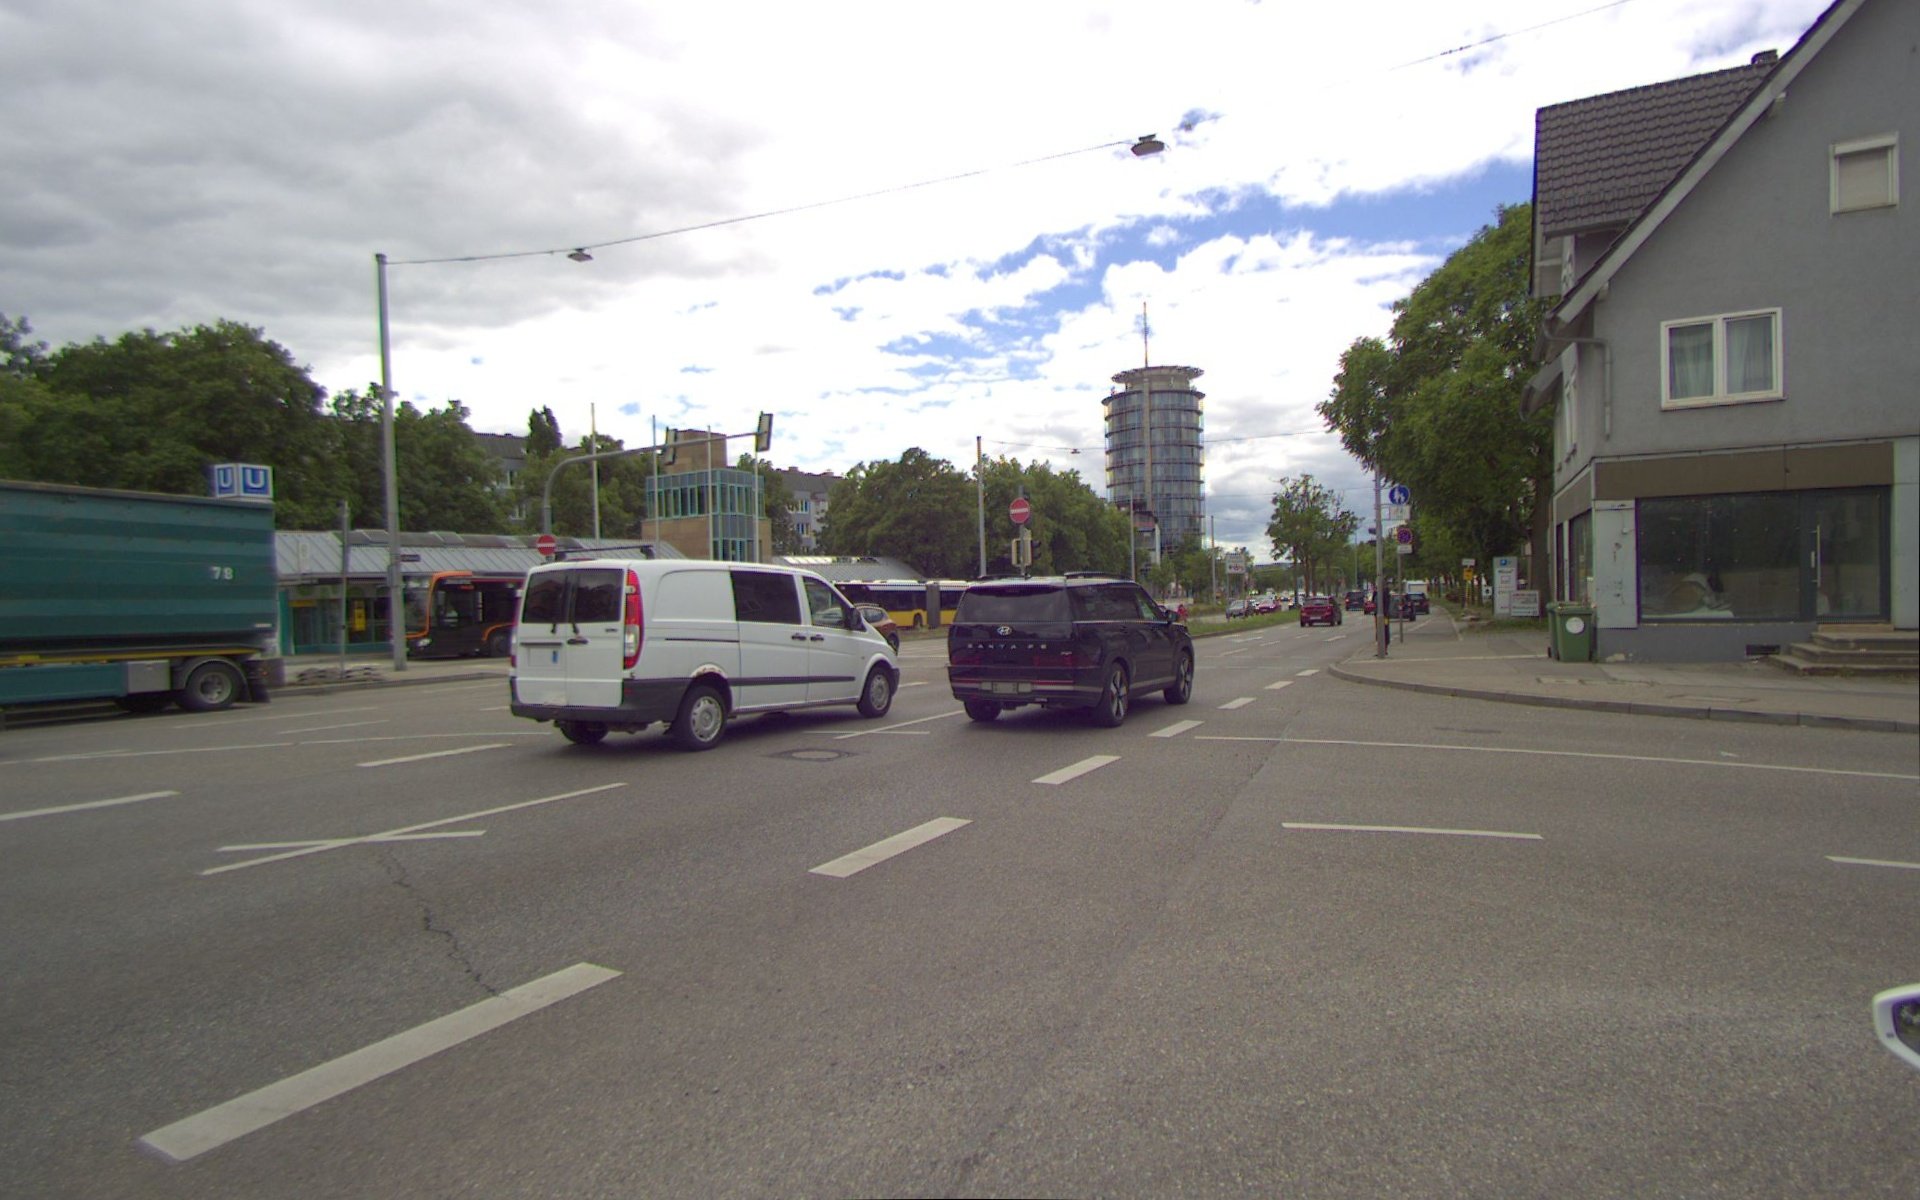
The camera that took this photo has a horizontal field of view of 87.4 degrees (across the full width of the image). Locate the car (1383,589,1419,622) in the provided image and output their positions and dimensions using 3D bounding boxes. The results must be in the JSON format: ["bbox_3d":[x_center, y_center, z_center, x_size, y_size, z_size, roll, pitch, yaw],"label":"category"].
[{"bbox_3d":[24.419,0.279,55.572,1.719,1.746,3.996,-1,0,25],"label":"car"}]

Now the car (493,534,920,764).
[{"bbox_3d":[-2.546,0.474,11.587,1.845,2.040,5.068,-1,-1,28],"label":"car"}]

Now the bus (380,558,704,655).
[{"bbox_3d":[-15.457,0.229,38.820,2.916,3.175,12.128,0,0,33],"label":"bus"}]

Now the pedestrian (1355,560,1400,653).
[{"bbox_3d":[9.381,0.150,22.552,0.761,2.040,0.875,-1,0,33],"label":"pedestrian"}]

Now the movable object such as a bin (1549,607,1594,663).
[{"bbox_3d":[11.123,0.635,18.273,0.587,1.000,0.573,-1,0,21],"label":"movable object such as a bin"}]

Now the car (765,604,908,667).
[{"bbox_3d":[-3.220,0.906,26.934,1.962,1.536,3.996,-2,-1,25],"label":"car"}]

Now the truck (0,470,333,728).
[{"bbox_3d":[-15.168,0.024,16.203,3.316,3.777,8.018,-2,-1,26],"label":"truck"}]

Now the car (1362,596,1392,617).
[{"bbox_3d":[32.568,0.494,78.548,1.838,1.506,4.000,-2,0,19],"label":"car"}]

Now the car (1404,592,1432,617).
[{"bbox_3d":[33.035,0.314,72.383,1.719,1.746,3.995,-1,0,26],"label":"car"}]

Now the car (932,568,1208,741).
[{"bbox_3d":[1.631,0.556,12.847,1.894,1.775,4.670,0,0,28],"label":"car"}]

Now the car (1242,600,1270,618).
[{"bbox_3d":[27.857,0.856,94.390,1.962,1.595,3.996,-1,-1,25],"label":"car"}]

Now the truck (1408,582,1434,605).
[{"bbox_3d":[46.018,-0.639,100.210,1.964,2.195,5.550,1,1,28],"label":"truck"}]

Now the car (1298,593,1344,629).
[{"bbox_3d":[18.680,0.541,51.912,1.720,1.746,3.995,-1,0,27],"label":"car"}]

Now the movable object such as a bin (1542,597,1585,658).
[{"bbox_3d":[11.313,0.515,18.848,0.587,1.116,0.573,-1,0,21],"label":"movable object such as a bin"}]

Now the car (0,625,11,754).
[{"bbox_3d":[-11.859,0.958,9.022,1.962,1.350,4.441,-1,0,25],"label":"car"}]

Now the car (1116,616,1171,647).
[{"bbox_3d":[10.215,1.707,55.666,1.963,1.595,3.996,-1,-1,26],"label":"car"}]

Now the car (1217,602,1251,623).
[{"bbox_3d":[22.195,0.980,81.296,1.962,1.595,3.996,-1,-1,25],"label":"car"}]

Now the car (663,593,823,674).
[{"bbox_3d":[-5.843,0.852,27.678,1.962,2.040,4.565,-1,0,24],"label":"car"}]

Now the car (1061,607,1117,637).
[{"bbox_3d":[7.341,1.231,56.706,1.963,1.595,3.996,-1,-1,26],"label":"car"}]

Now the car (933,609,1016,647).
[{"bbox_3d":[0.699,1.192,43.808,1.962,1.527,4.487,-1,0,25],"label":"car"}]
